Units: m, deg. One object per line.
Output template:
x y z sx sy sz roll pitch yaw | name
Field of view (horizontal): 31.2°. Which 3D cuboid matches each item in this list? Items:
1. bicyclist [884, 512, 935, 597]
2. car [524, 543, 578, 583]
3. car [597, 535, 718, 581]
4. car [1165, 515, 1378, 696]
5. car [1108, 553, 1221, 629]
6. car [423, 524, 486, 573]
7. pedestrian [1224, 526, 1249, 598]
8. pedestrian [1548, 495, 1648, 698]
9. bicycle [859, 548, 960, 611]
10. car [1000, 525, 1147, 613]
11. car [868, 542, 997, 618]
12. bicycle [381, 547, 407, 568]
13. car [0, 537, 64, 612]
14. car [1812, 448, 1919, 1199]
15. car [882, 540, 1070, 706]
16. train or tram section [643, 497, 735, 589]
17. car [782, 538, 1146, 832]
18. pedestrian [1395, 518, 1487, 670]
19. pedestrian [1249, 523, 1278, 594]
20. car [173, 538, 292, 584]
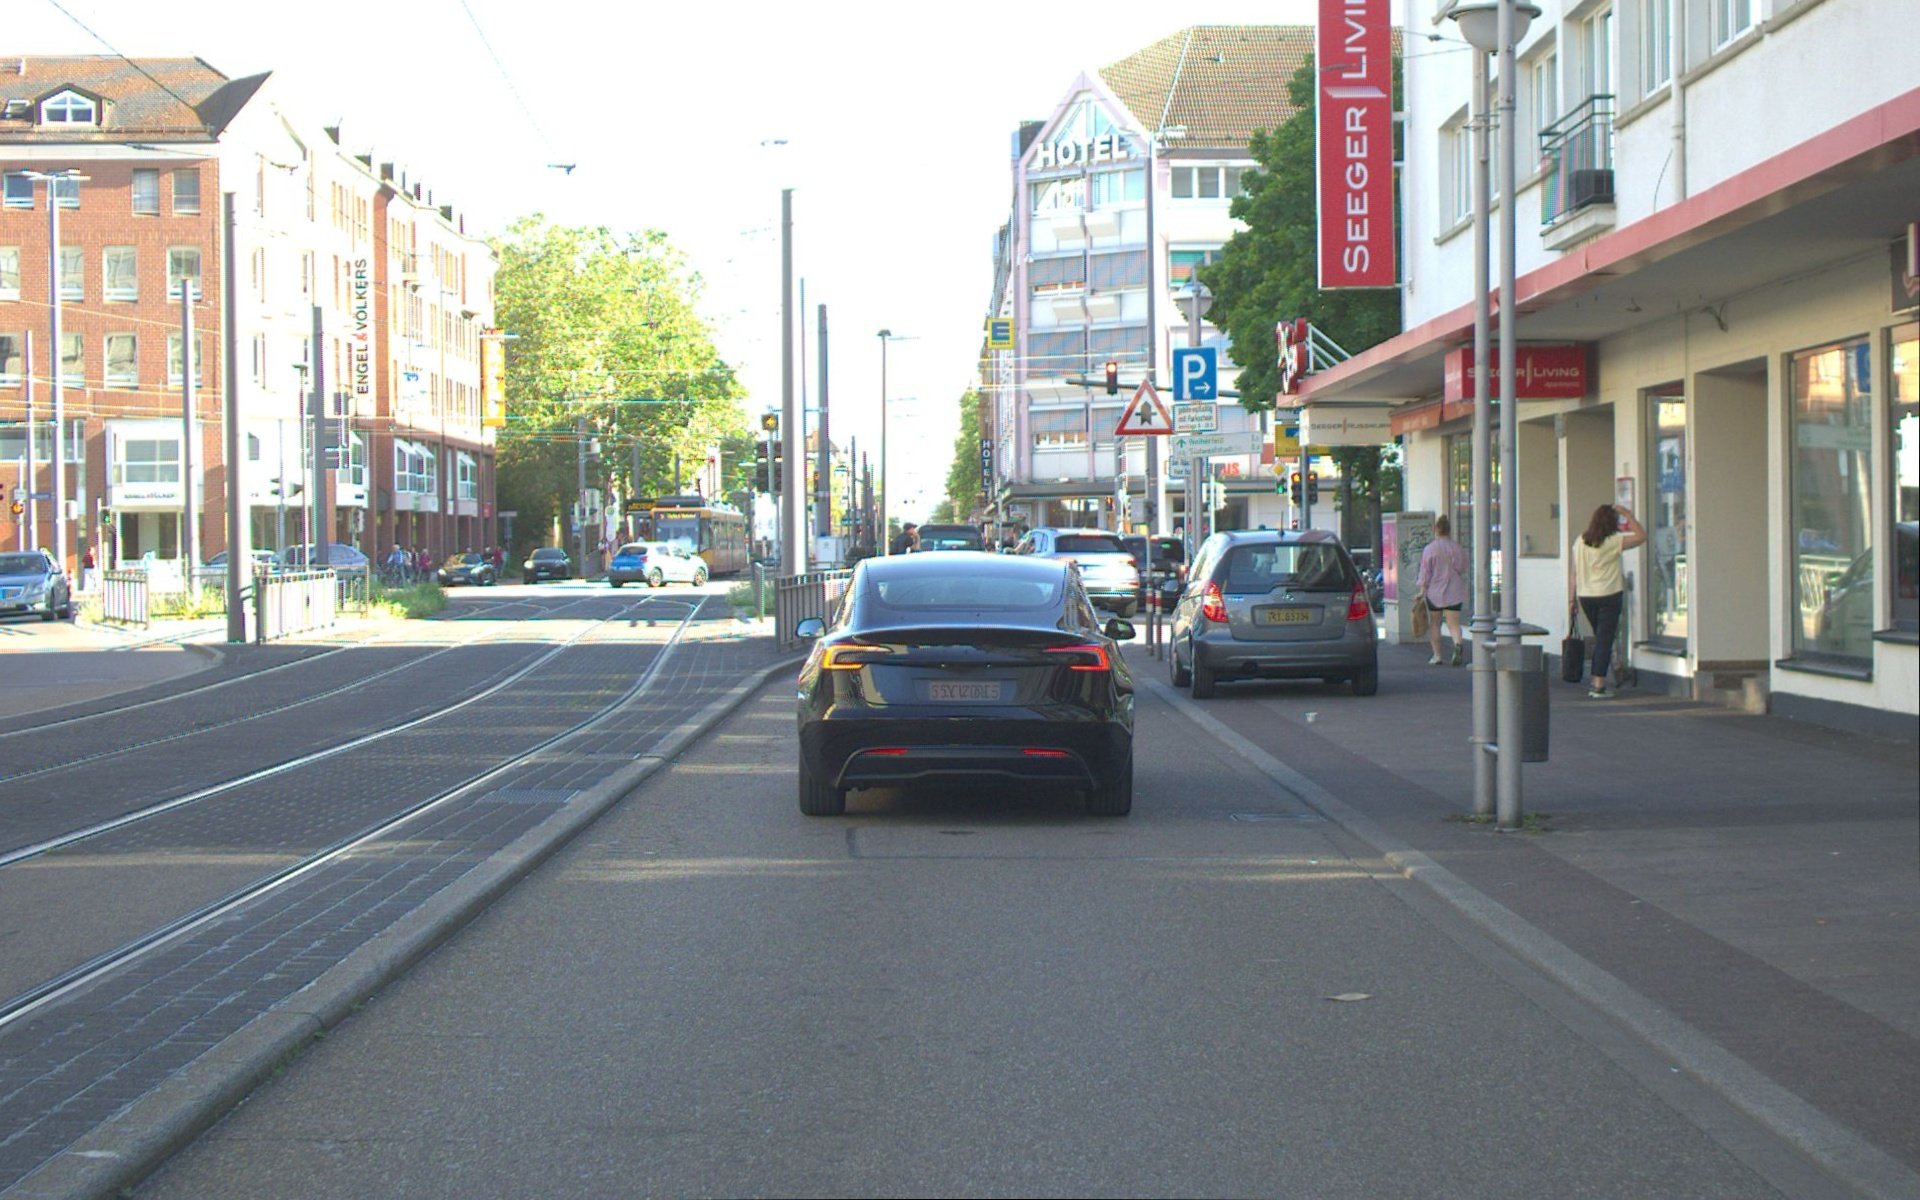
-0.916 -0.825 62.270 0.836 1.494 0.560 2 1 -8 | bicyclist
-17.480 -1.587 147.006 1.751 1.645 4.000 2 1 0 | car
-9.991 -1.389 113.720 1.997 1.415 3.993 2 1 31 | car
2.997 0.010 33.706 1.745 1.626 3.649 -2 1 0 | car
4.322 -0.210 73.013 1.824 1.514 3.650 2 1 -5 | car
-21.139 -2.179 143.788 1.993 2.007 4.000 -1 1 0 | car
6.534 -0.905 81.128 0.562 1.677 0.750 1 1 5 | pedestrian
5.680 -0.036 30.569 0.804 1.768 0.932 0 1 14 | pedestrian
-0.918 -0.369 62.358 1.727 1.084 0.678 2 1 -7 | bicycle
2.041 -0.577 63.182 1.783 1.514 4.219 2 1 -11 | car
-0.614 -0.438 72.501 1.824 1.514 4.219 2 1 -13 | car
-22.938 -1.728 139.308 0.702 0.852 2.053 -1 1 0 | bicycle
-19.612 -0.536 71.084 1.880 1.490 4.932 -1 1 -13 | car
3.040 0.518 5.712 1.849 1.718 5.193 -2 1 -1 | car
0.166 0.170 32.921 1.653 1.413 4.000 1 2 1 | car
-11.571 -2.424 148.103 2.674 3.703 14.193 2 1 0 | train or tram section
-0.018 0.417 19.591 1.849 1.479 3.787 1 1 -1 | car
5.442 -0.069 38.868 0.818 1.677 0.714 2 1 23 | pedestrian
6.959 -0.946 78.819 0.629 1.608 0.643 1 1 4 | pedestrian
-24.860 -1.340 117.424 3.997 1.465 1.995 2 1 42 | car
